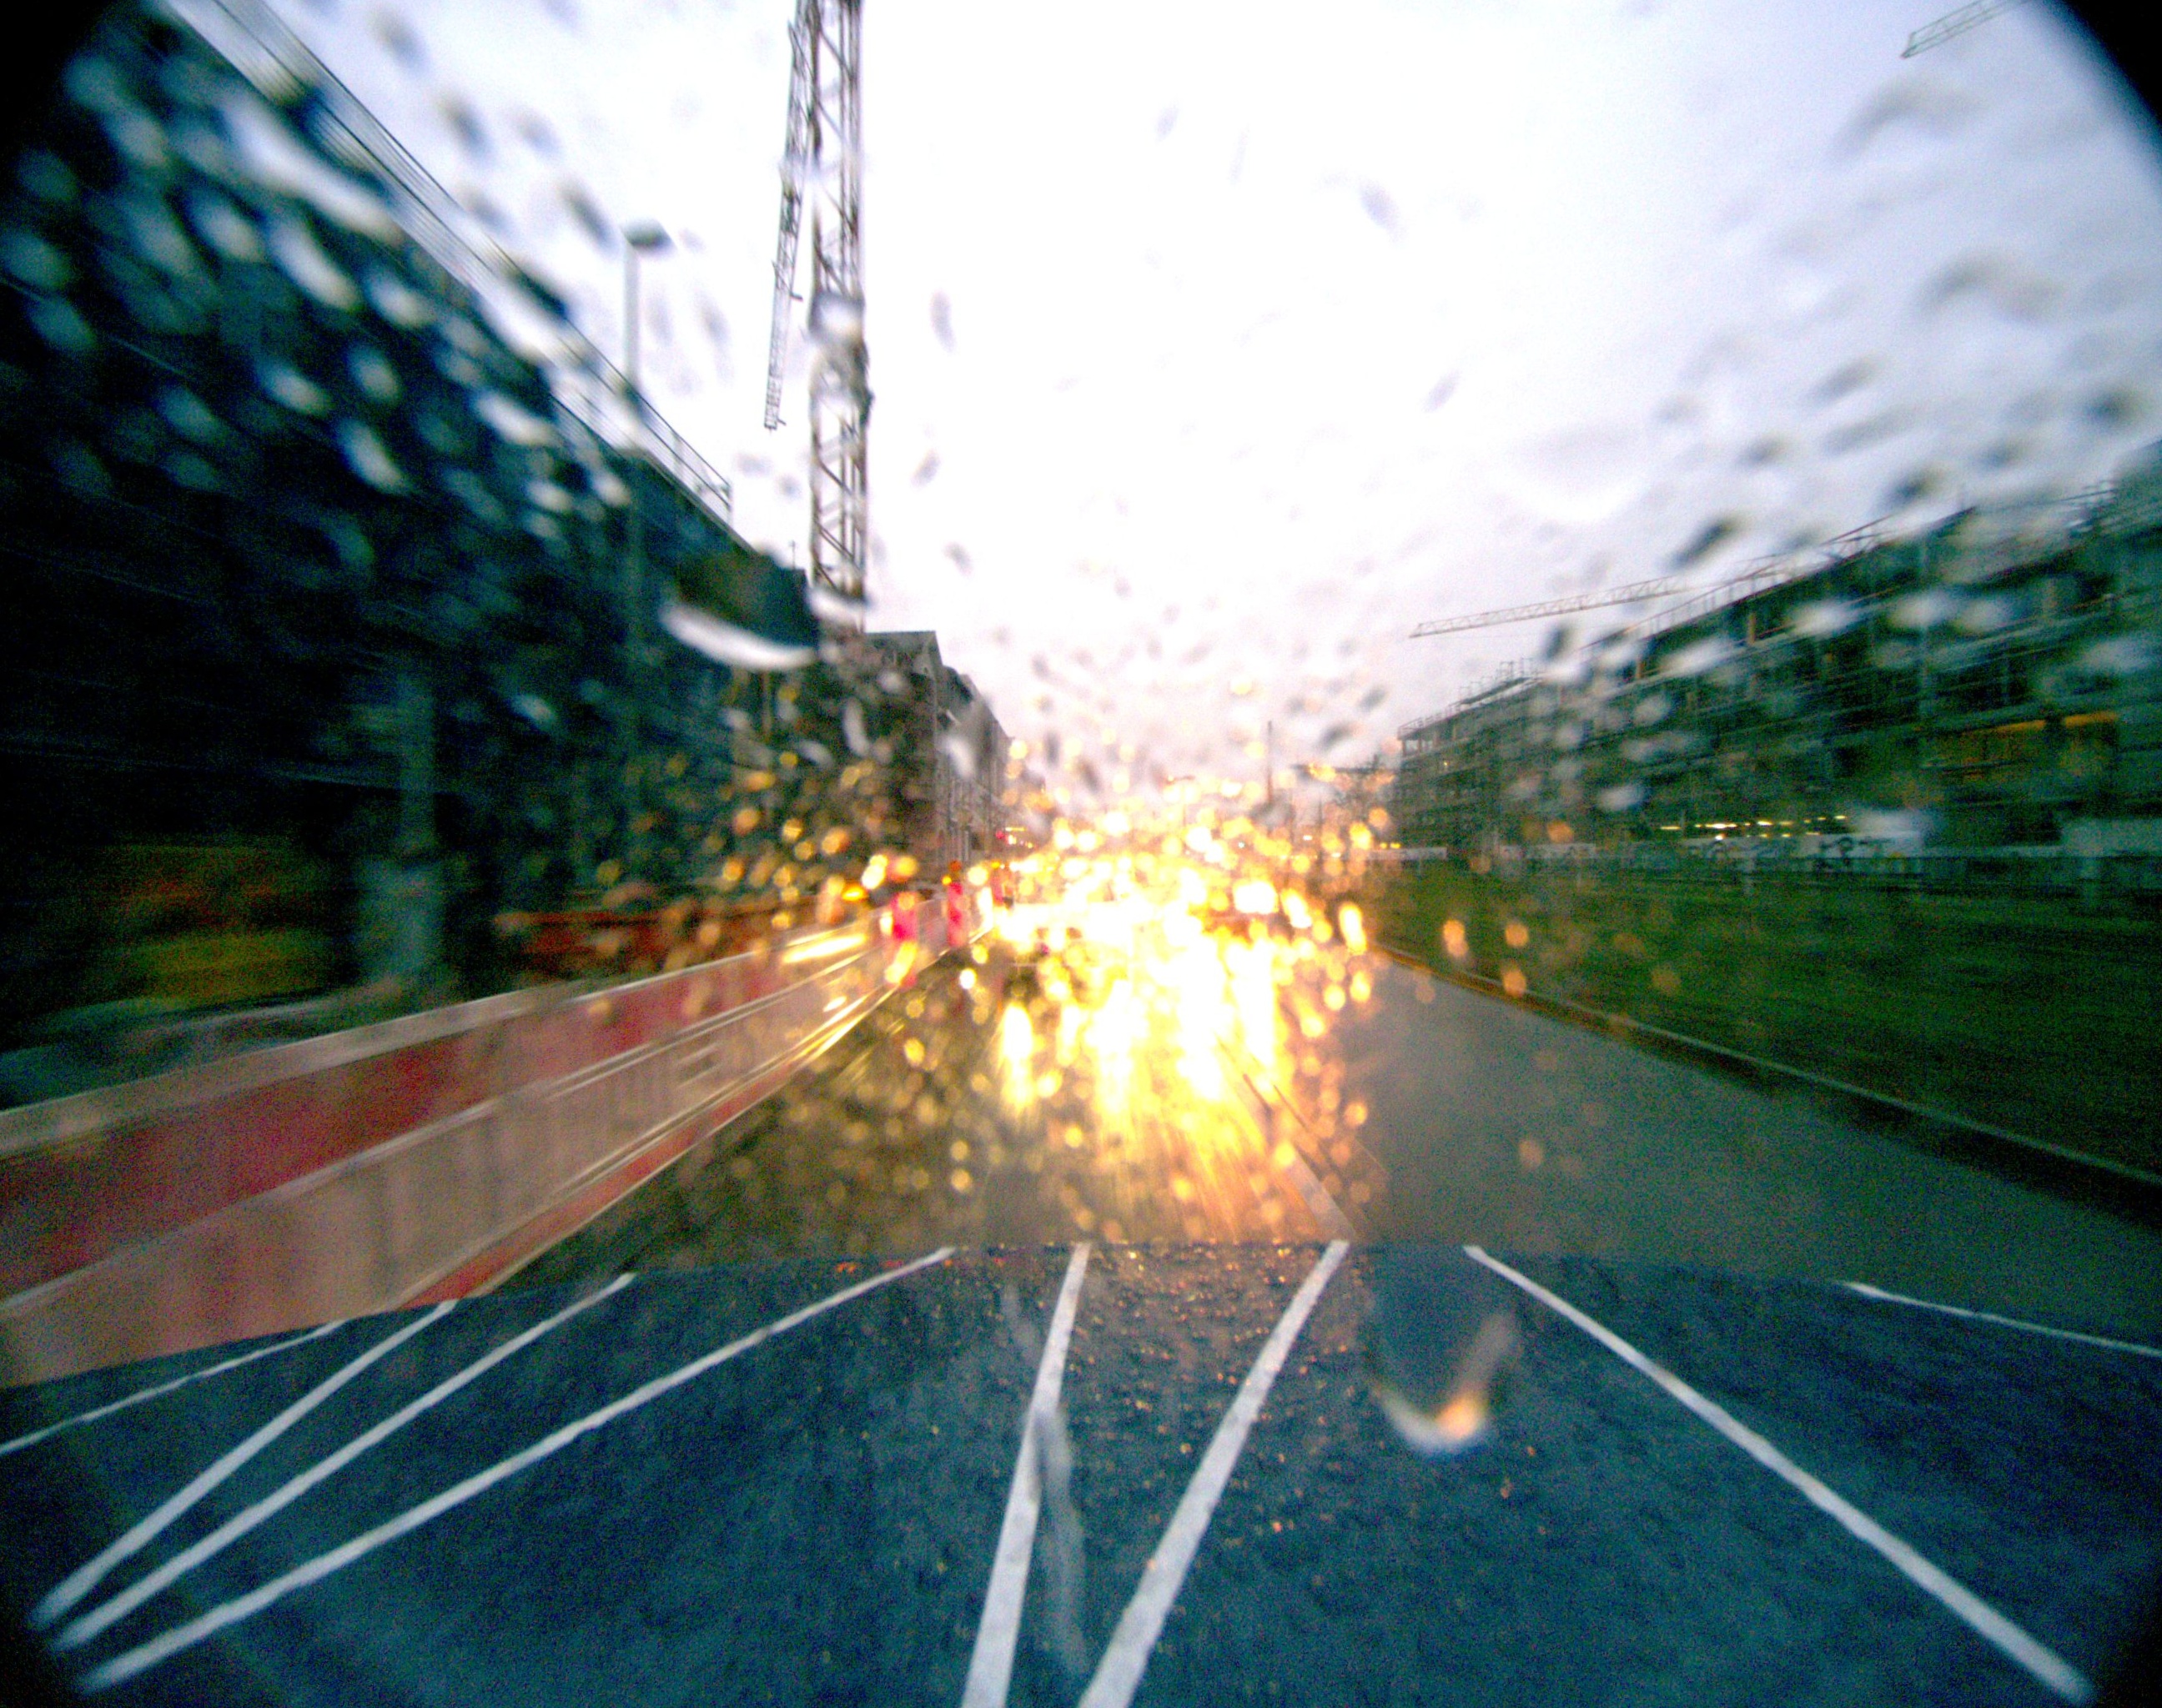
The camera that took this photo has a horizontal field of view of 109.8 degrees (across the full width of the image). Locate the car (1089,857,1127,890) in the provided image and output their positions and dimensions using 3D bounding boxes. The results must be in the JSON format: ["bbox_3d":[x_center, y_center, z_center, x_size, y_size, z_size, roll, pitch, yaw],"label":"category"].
[{"bbox_3d":[1.522,1.061,42.979,1.998,1.673,4.000,-1,0,2],"label":"car"}]

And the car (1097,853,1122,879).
[{"bbox_3d":[2.164,0.880,58.594,1.865,1.867,4.000,-1,0,1],"label":"car"}]

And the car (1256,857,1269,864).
[{"bbox_3d":[37.473,1.264,156.958,1.686,1.406,4.341,-1,0,2],"label":"car"}]

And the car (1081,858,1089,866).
[{"bbox_3d":[0.888,1.814,176.459,1.867,1.652,3.987,-1,0,1],"label":"car"}]

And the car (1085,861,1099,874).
[{"bbox_3d":[1.558,1.847,105.538,1.867,1.652,3.987,-1,0,1],"label":"car"}]

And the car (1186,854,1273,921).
[{"bbox_3d":[3.539,0.738,18.695,1.808,1.444,4.007,0,0,7],"label":"car"}]

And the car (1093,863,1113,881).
[{"bbox_3d":[2.124,1.728,73.798,1.867,1.652,3.987,-1,0,1],"label":"car"}]

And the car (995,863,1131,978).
[{"bbox_3d":[-0.159,0.926,12.346,1.814,1.464,4.139,-1,0,2],"label":"car"}]

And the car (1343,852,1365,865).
[{"bbox_3d":[37.344,0.679,104.186,1.758,1.652,3.766,-1,-2,2],"label":"car"}]

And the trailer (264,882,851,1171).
[{"bbox_3d":[-3.738,1.085,6.787,1.839,1.481,4.847,0,0,1],"label":"trailer"}]
